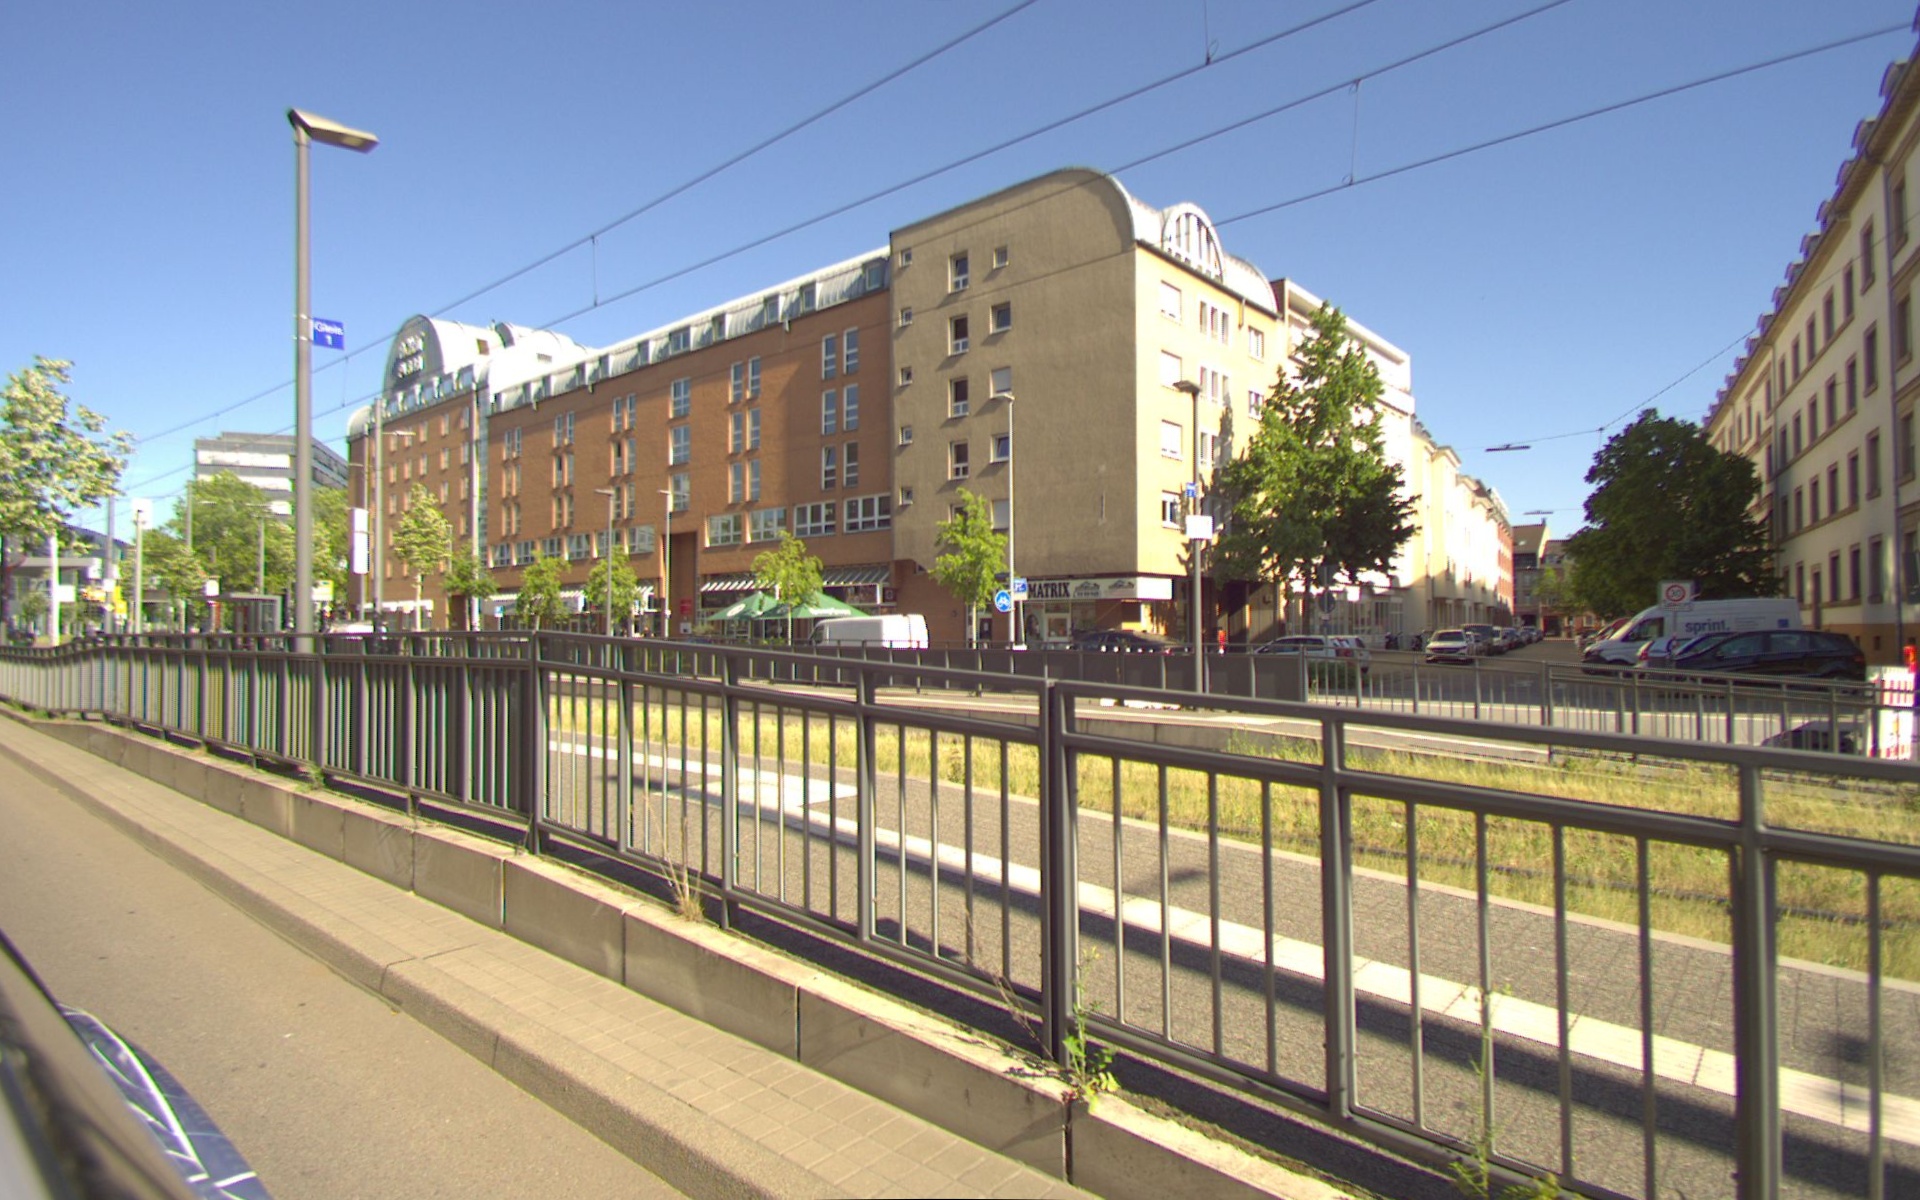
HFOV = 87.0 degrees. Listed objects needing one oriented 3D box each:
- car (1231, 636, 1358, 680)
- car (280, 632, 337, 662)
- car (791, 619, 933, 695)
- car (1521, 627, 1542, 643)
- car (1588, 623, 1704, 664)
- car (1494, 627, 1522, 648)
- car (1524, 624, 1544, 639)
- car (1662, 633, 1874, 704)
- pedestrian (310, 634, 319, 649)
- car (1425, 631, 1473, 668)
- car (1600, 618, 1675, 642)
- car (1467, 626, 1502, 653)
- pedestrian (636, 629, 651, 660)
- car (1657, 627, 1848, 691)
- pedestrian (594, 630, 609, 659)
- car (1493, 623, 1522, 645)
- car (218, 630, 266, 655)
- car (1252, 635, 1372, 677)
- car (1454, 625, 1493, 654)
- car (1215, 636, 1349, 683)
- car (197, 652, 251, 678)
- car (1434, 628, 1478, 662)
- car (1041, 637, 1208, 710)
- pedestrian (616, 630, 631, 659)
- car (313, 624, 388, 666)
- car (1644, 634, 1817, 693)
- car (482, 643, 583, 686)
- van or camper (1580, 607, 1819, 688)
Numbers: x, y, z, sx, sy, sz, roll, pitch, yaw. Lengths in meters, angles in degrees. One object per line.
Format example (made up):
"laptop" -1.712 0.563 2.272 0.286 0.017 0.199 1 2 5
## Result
"car" 11.702 1.991 35.439 3.980 1.462 1.769 -1 -2 27
"car" -41.041 2.916 63.691 3.998 1.696 1.973 -1 0 41
"car" -3.490 1.905 34.985 1.969 2.388 5.652 1 -2 -41
"car" 61.067 3.691 108.106 1.949 1.674 3.959 -1 -2 30
"car" 35.677 2.262 52.821 4.857 2.022 1.920 -1 -2 33
"car" 46.461 3.155 85.774 1.949 1.674 3.959 -1 -2 30
"car" 66.295 3.645 116.798 1.949 1.674 3.959 -1 -2 30
"car" 18.762 1.557 23.733 3.661 1.533 1.673 -1 -2 32
"pedestrian" -68.159 4.385 106.879 0.728 1.622 0.637 -2 -3 45
"car" 23.491 2.333 48.525 1.947 1.674 3.962 -1 -2 27
"car" 50.557 2.256 75.627 4.557 1.745 2.024 -1 -2 32
"car" 33.865 2.546 65.341 1.947 1.674 3.962 -1 -2 27
"pedestrian" -18.885 2.634 60.446 0.644 1.854 0.614 -2 -3 41
"car" 20.202 1.478 26.010 3.661 1.533 1.673 -1 -2 32
"pedestrian" -22.786 2.807 64.370 0.644 1.854 0.614 -2 -3 39
"car" 44.128 2.730 81.505 1.949 1.674 3.959 -1 -2 30
"car" -52.288 3.090 73.714 3.998 1.696 1.973 -1 0 41
"car" 13.021 2.040 37.421 3.980 1.462 1.769 -1 -2 27
"car" 30.746 2.357 60.583 1.947 1.674 3.962 -1 -2 27
"car" 10.643 1.943 33.465 3.980 1.462 1.769 -1 -2 27
"car" -43.006 3.759 59.074 3.958 1.296 1.677 -1 0 40
"car" 25.766 2.313 52.548 1.947 1.674 3.962 -1 -2 27
"car" 4.300 1.883 26.771 3.997 1.773 1.796 -2 -3 40
"pedestrian" -21.203 2.798 63.830 0.644 1.854 0.614 -2 -3 39
"car" -28.490 2.063 47.249 4.086 1.808 1.801 -1 0 40
"car" 21.372 1.722 28.261 3.654 1.533 1.673 -1 -2 32
"car" -14.927 2.198 35.261 3.958 1.296 1.677 -1 0 40
"van or camper" 23.462 1.489 32.499 5.932 2.419 1.980 -1 -2 30
